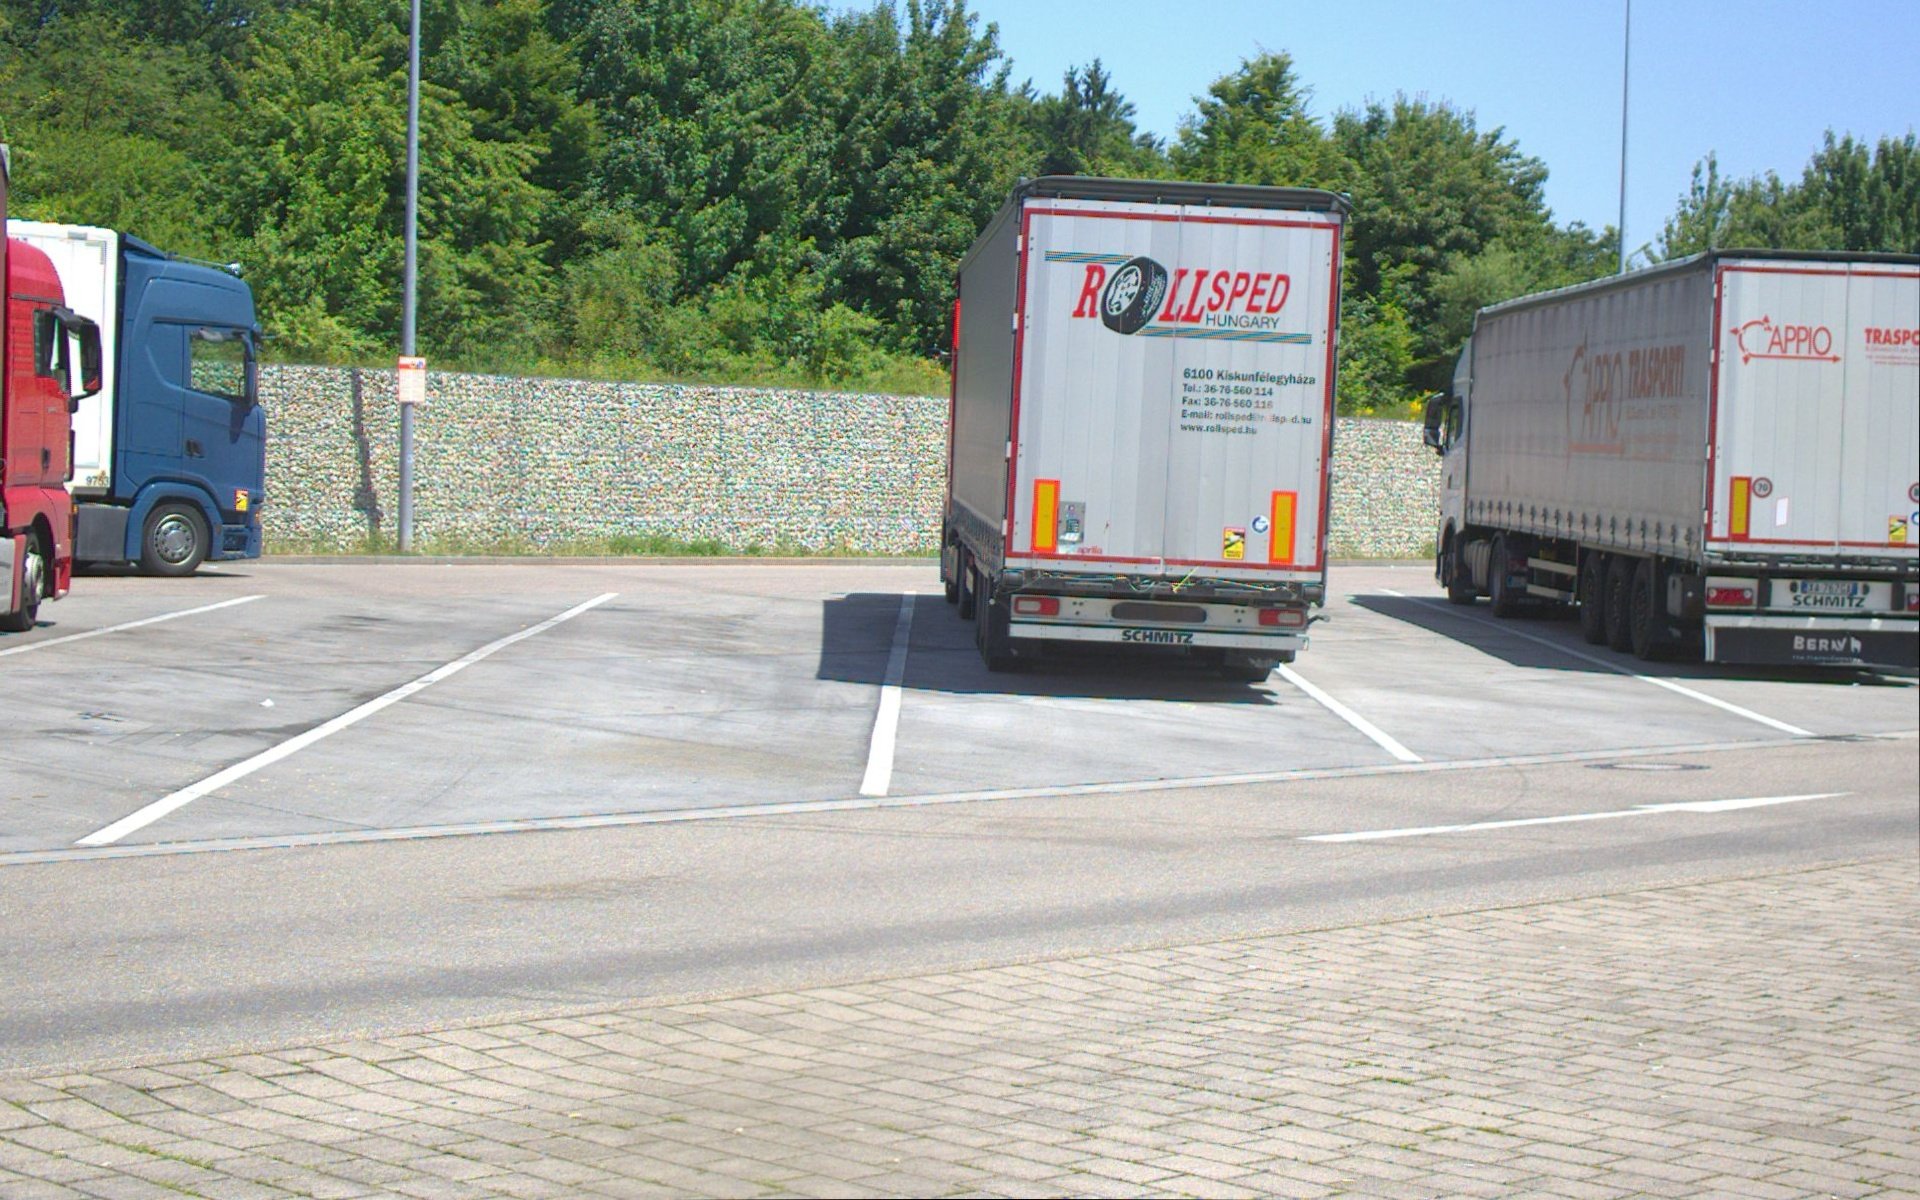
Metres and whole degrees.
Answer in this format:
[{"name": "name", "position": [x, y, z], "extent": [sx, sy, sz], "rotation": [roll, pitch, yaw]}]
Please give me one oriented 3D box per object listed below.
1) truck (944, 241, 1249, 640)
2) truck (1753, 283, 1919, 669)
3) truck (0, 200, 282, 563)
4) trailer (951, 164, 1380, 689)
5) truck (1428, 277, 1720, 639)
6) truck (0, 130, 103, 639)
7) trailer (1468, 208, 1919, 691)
[{"name": "truck", "position": [1.356, -1.699, 37.639], "extent": [2.871, 3.966, 6.030], "rotation": [1, 2, -2]}, {"name": "truck", "position": [11.719, -1.350, 38.760], "extent": [2.587, 4.211, 11.971], "rotation": [1, 1, -1]}, {"name": "truck", "position": [-12.461, -2.510, 38.441], "extent": [2.240, 4.019, 10.028], "rotation": [2, 1, 44]}, {"name": "trailer", "position": [1.564, -1.512, 32.077], "extent": [2.897, 4.000, 11.319], "rotation": [1, 2, -2]}, {"name": "truck", "position": [7.968, -1.841, 45.301], "extent": [2.661, 4.437, 5.864], "rotation": [1, 2, -1]}, {"name": "truck", "position": [-9.185, -1.772, 28.349], "extent": [2.805, 4.119, 5.894], "rotation": [1, 2, -1]}, {"name": "trailer", "position": [8.102, -1.590, 38.188], "extent": [2.681, 4.437, 12.831], "rotation": [1, 2, -1]}]
